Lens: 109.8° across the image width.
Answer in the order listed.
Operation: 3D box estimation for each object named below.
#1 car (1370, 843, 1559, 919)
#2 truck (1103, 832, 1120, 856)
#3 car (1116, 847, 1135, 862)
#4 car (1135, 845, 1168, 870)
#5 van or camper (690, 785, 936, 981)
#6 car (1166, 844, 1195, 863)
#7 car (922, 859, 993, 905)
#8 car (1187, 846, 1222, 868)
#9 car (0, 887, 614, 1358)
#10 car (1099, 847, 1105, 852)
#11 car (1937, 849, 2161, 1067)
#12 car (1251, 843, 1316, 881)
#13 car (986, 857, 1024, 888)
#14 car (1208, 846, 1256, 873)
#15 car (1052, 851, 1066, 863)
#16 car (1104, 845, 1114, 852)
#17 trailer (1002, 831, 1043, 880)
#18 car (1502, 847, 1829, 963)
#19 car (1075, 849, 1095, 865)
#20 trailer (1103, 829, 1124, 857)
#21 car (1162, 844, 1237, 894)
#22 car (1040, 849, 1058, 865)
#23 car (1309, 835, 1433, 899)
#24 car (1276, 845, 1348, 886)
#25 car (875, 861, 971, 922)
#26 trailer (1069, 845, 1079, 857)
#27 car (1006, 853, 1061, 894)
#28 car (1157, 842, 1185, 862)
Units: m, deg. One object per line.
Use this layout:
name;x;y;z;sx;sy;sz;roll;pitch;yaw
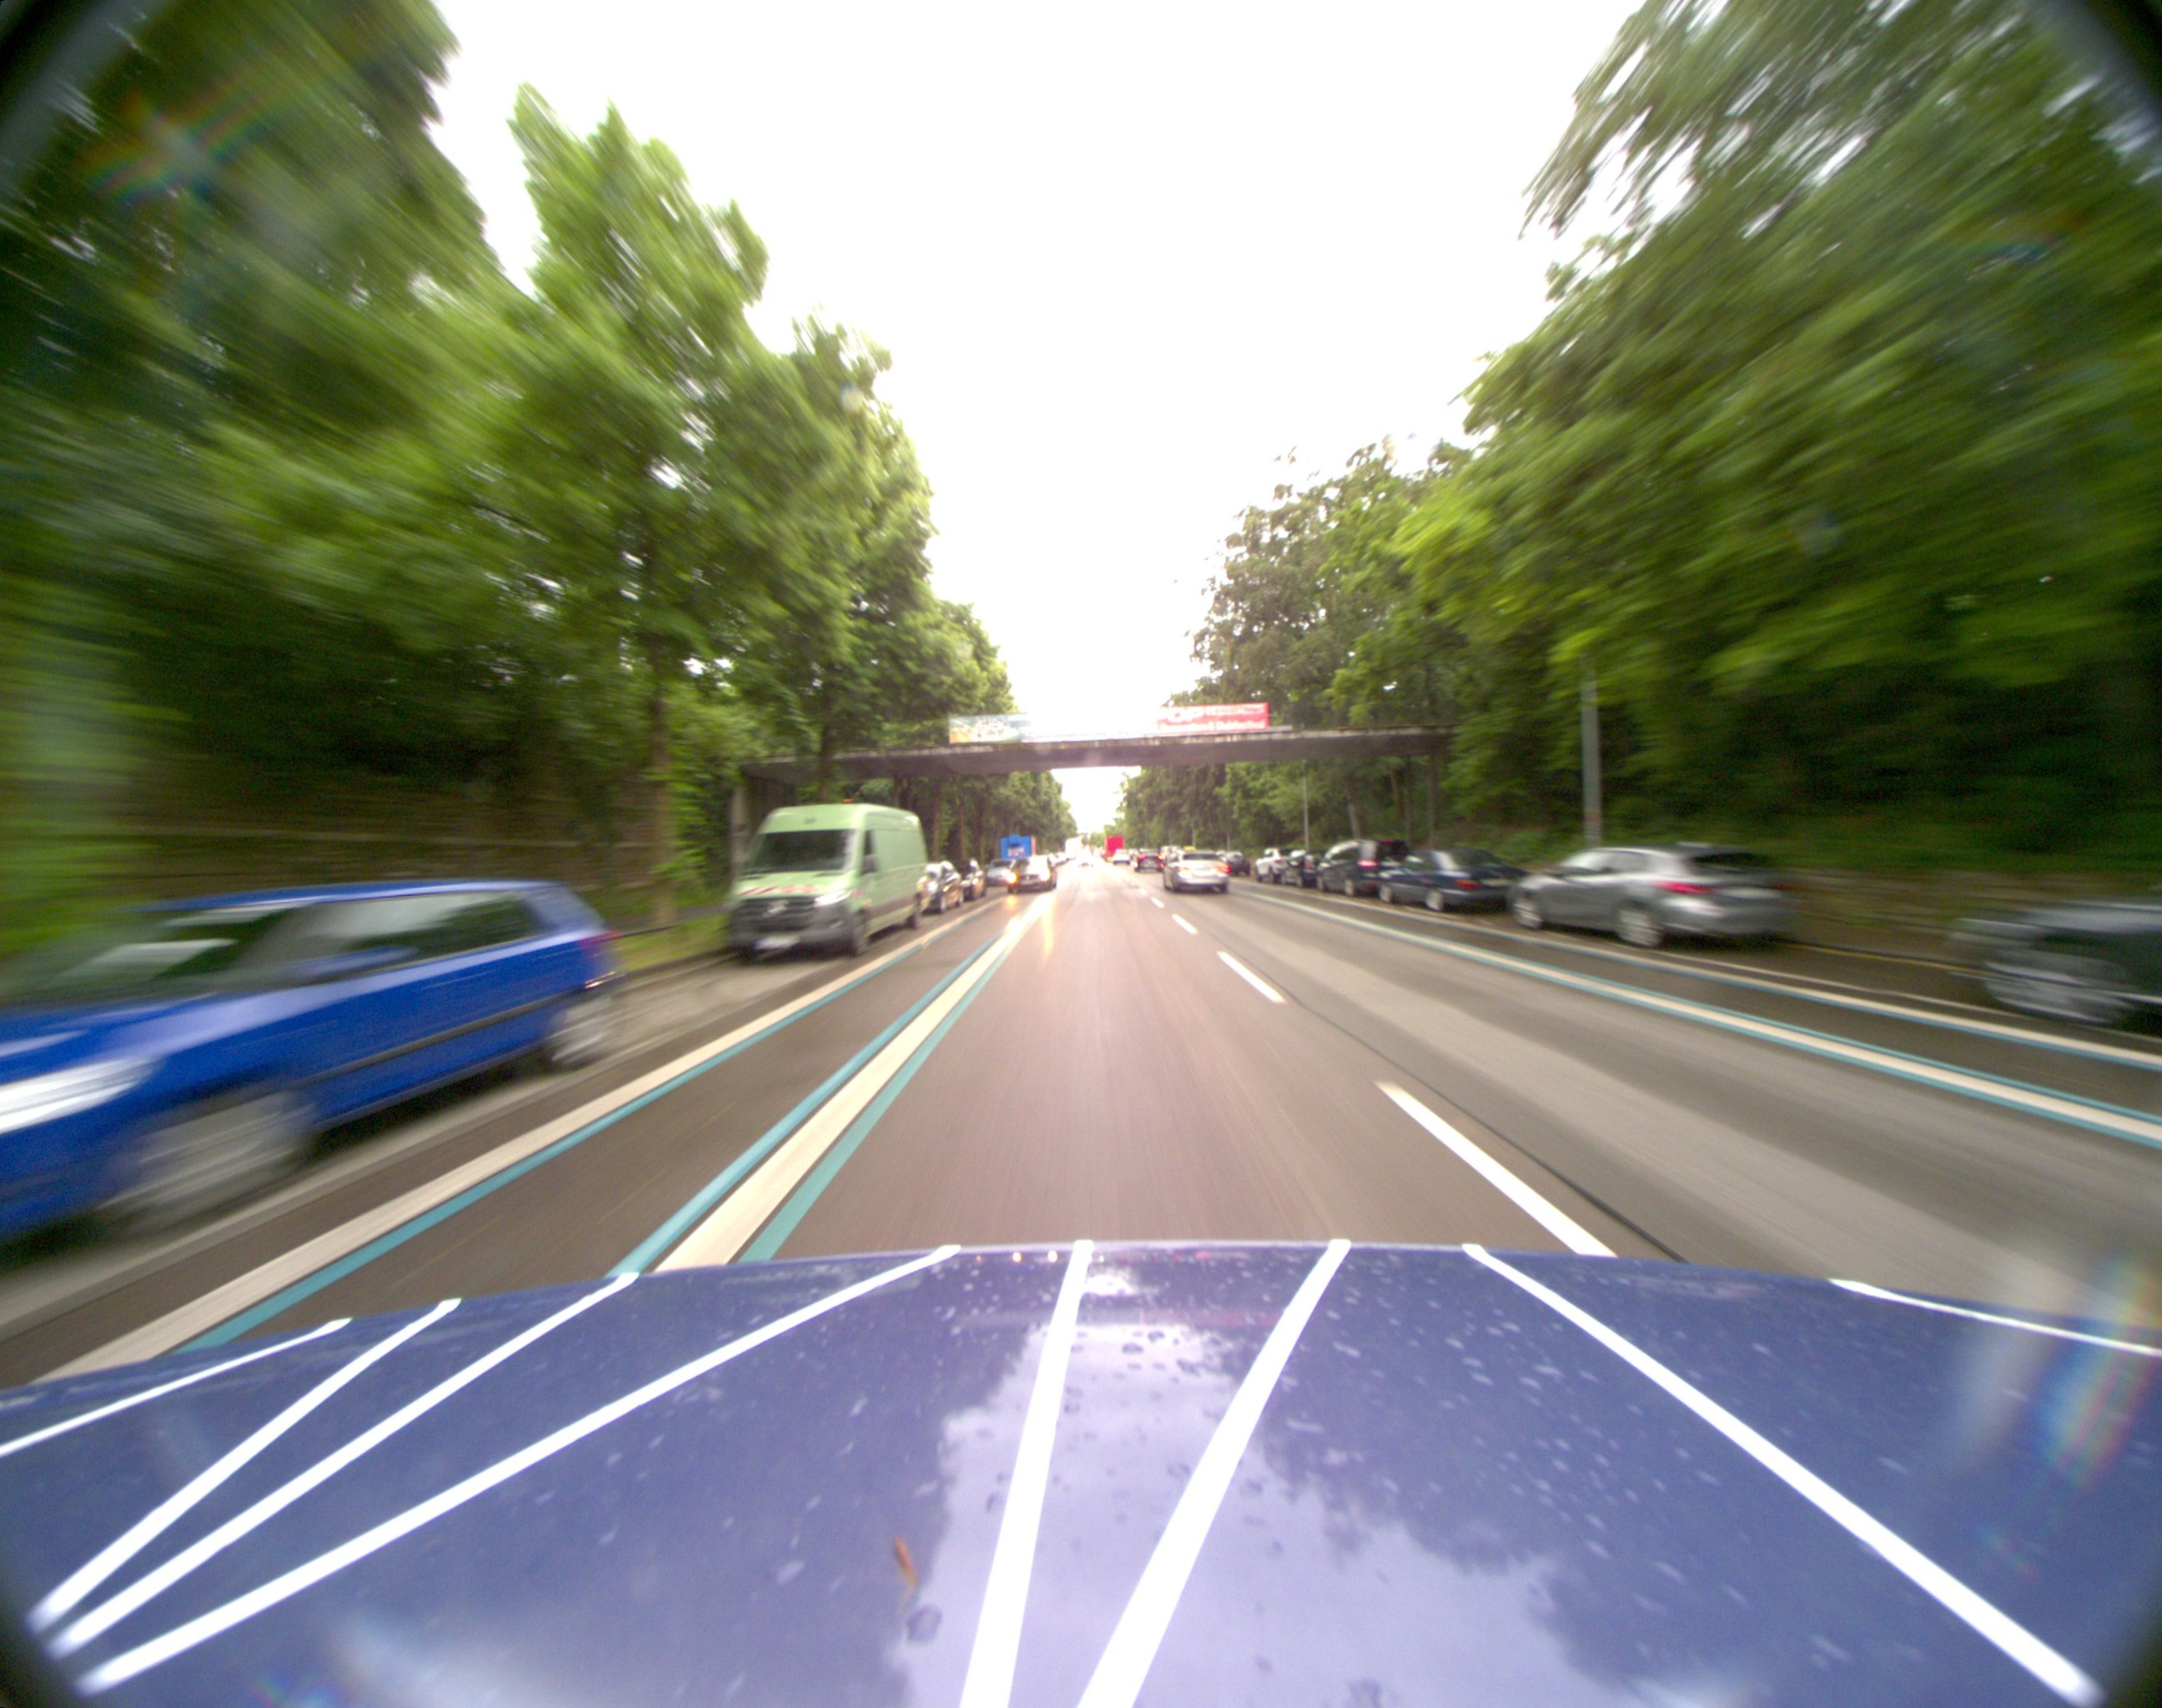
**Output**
car;8.841;0.556;18.129;1.988;1.464;4.897;-3;0;0
truck;5.025;-1.670;126.271;2.524;4.023;4.915;0;1;0
car;4.973;0.003;85.291;1.838;1.657;4.180;0;1;0
car;4.906;0.225;53.451;1.971;1.618;4.320;-1;0;1
van or camper;-4.520;0.394;14.404;2.047;2.713;6.899;-3;0;0
car;9.323;-0.064;71.445;2.015;1.596;4.779;-2;1;0
car;-4.322;0.934;27.208;1.690;1.408;4.197;-2;0;1
car;8.831;0.220;54.774;1.794;1.473;3.982;-2;0;-1
car;-4.700;1.079;4.222;1.690;1.505;3.835;-3;0;1
car;7.142;-1.637;256.363;1.958;1.629;4.444;0;0;1
car;8.438;0.723;4.221;1.961;1.455;4.755;-2;0;-1
car;8.874;0.334;33.658;1.692;1.537;4.232;-2;0;0
car;-3.838;0.907;39.021;1.588;1.345;3.861;-3;0;-2
car;8.678;0.307;44.070;1.836;1.468;4.039;-2;0;-2
car;-2.944;0.366;103.050;1.702;1.445;4.097;-3;0;-1
car;5.779;-1.236;158.212;1.920;1.448;4.620;0;0;1
trailer;-3.484;0.064;45.792;1.957;2.742;4.007;-3;1;1
car;8.594;0.653;11.777;1.788;1.415;4.296;-2;0;1
car;0.472;0.335;81.203;1.998;1.589;4.000;-3;0;1
trailer;5.043;-1.690;118.692;2.694;4.234;12.767;0;1;0
car;4.023;0.450;26.518;1.926;1.552;4.620;-1;1;1
car;-3.495;0.328;83.788;1.757;1.587;4.739;-3;0;0
car;8.906;0.367;23.837;1.995;1.731;4.838;-2;0;0
car;8.803;0.422;29.204;1.613;1.430;3.843;-2;0;1
car;-4.407;0.987;21.768;1.690;1.408;4.100;-3;1;2
trailer;-1.663;-0.684;168.607;1.988;2.550;3.999;-3;0;-2
car;-1.895;0.757;31.480;1.822;1.499;4.139;-2;0;2
car;9.524;-0.175;80.485;1.979;1.993;5.016;-3;0;-3
